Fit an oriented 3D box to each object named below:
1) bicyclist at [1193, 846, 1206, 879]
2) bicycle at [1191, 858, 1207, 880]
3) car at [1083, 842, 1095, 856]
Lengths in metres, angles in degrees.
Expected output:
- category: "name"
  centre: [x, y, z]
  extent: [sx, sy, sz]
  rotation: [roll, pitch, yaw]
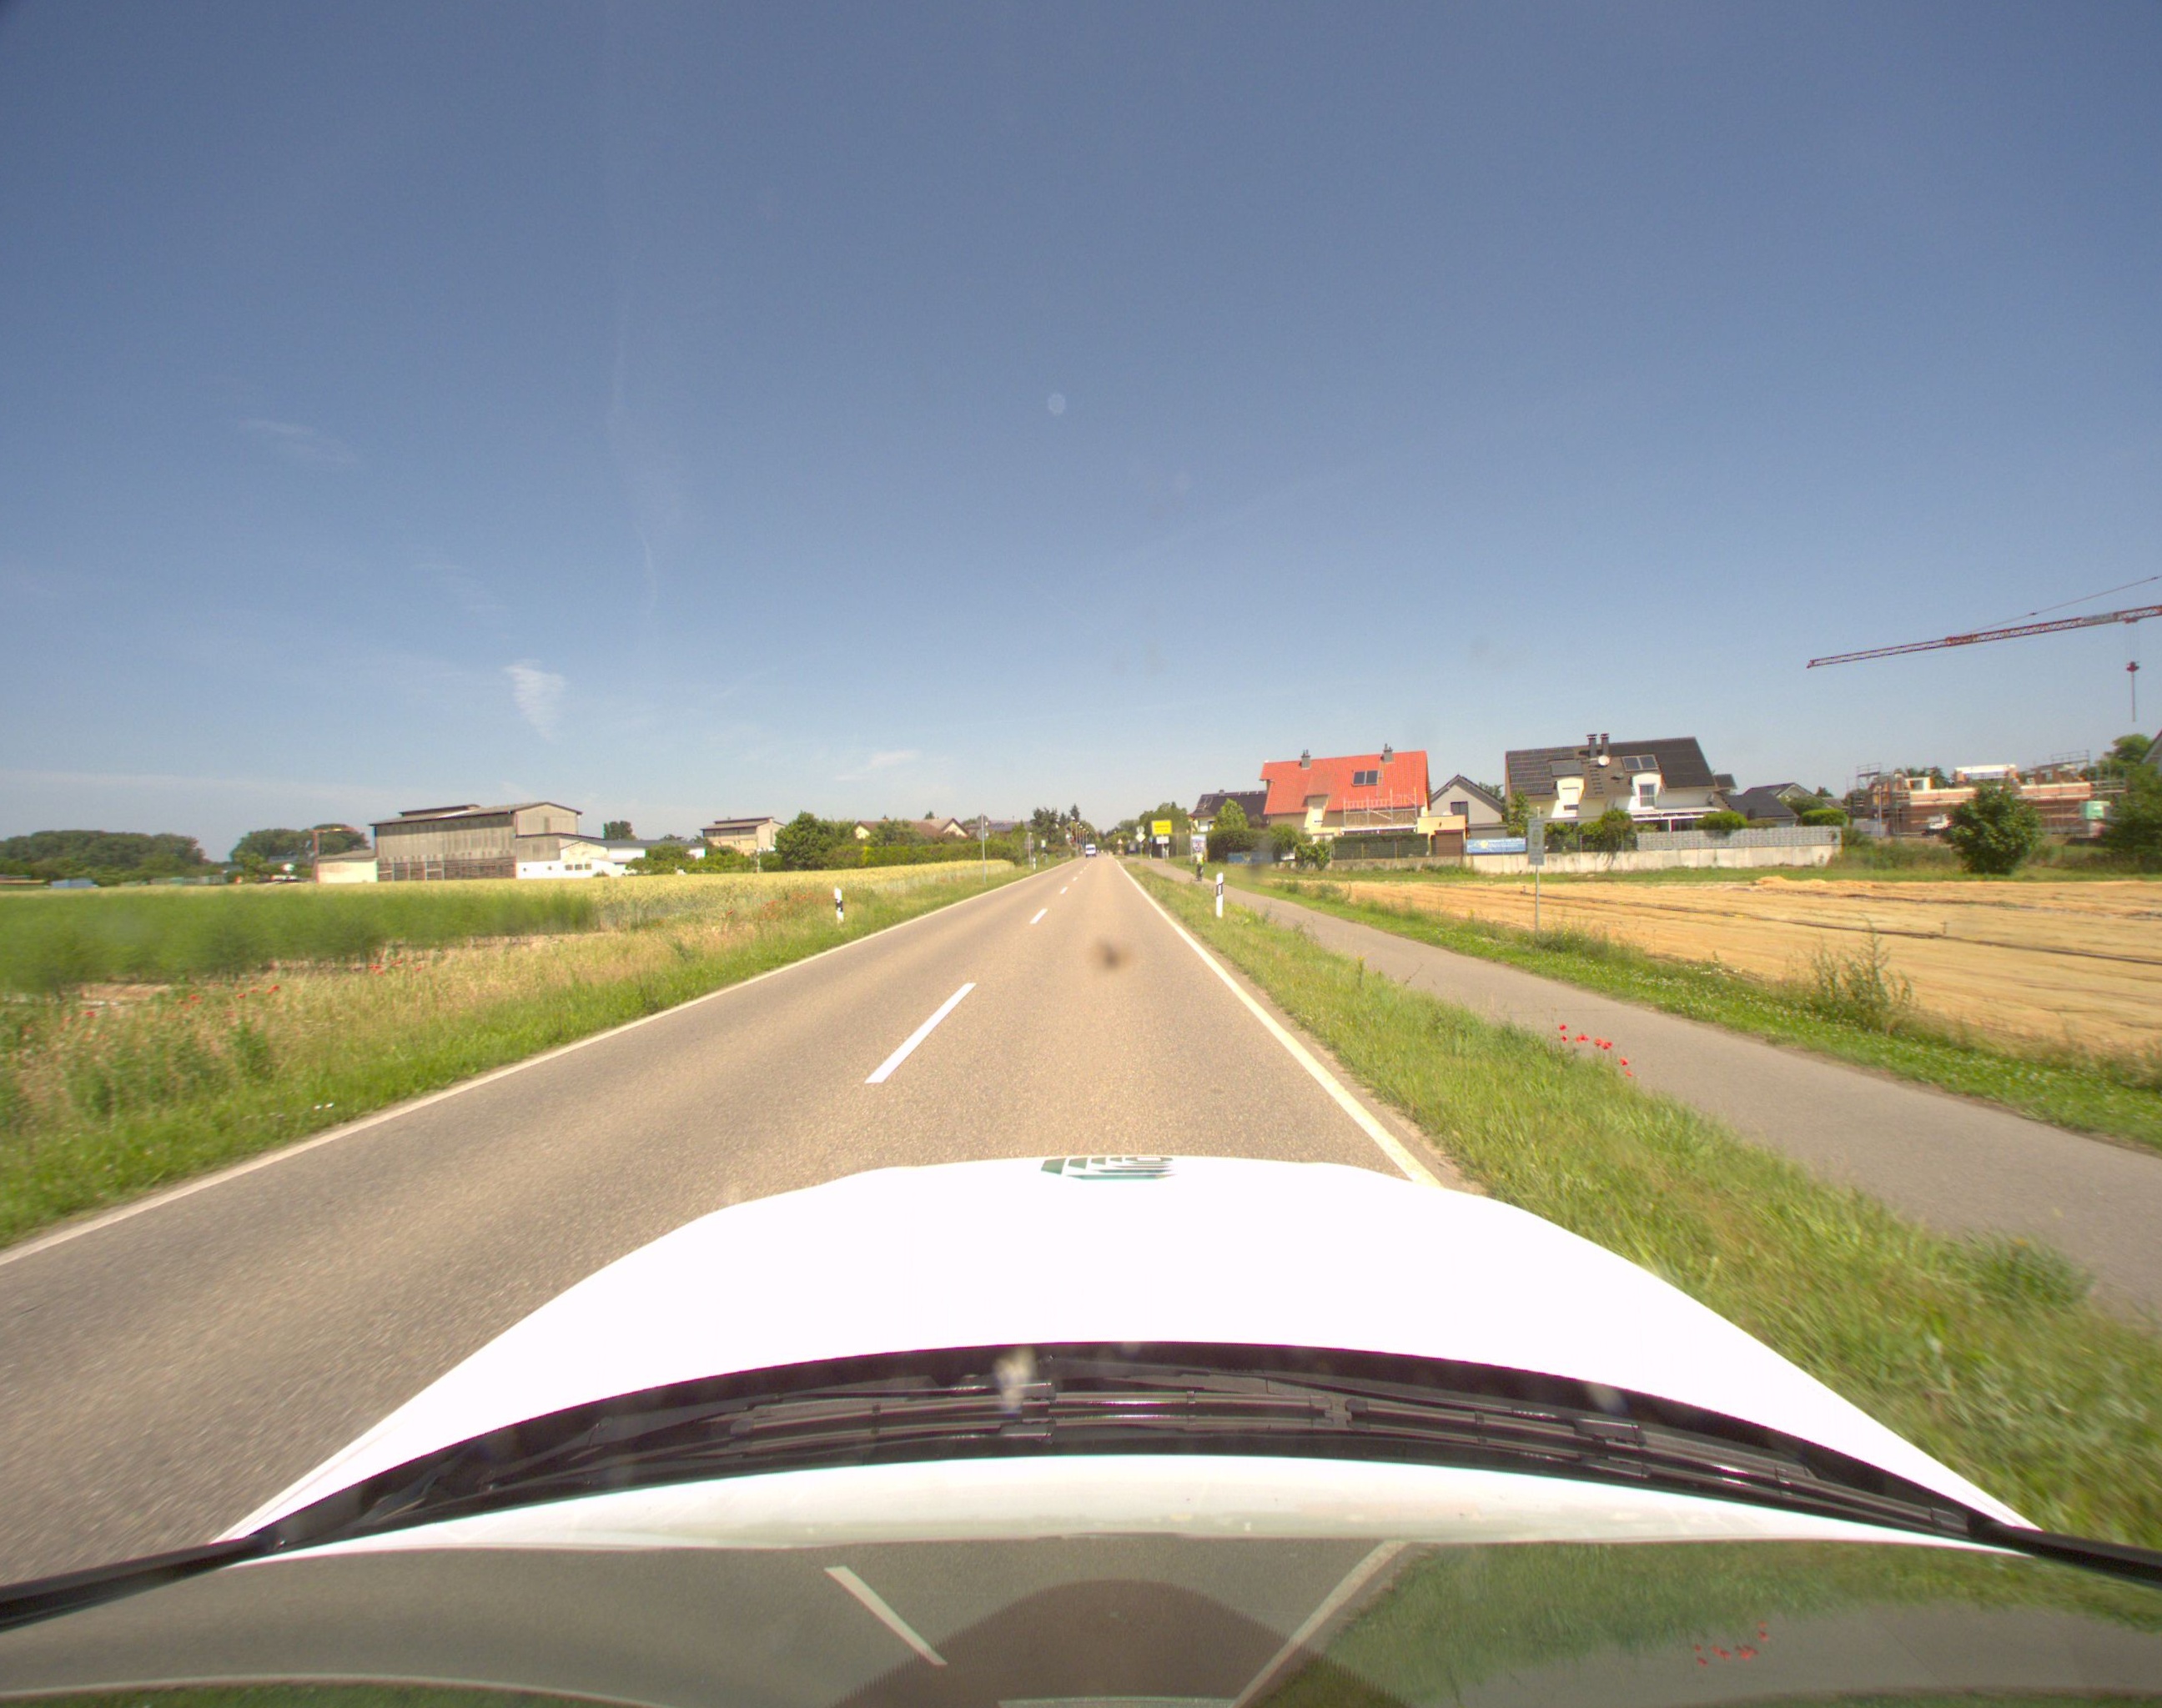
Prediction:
- category: "bicyclist"
  centre: [6.824, 0.499, 47.062]
  extent: [0.642, 1.889, 0.861]
  rotation: [-1, 1, 1]
- category: "bicycle"
  centre: [6.832, 0.861, 47.212]
  extent: [0.608, 1.158, 2.275]
  rotation: [-1, 1, 1]
- category: "car"
  centre: [1.591, -0.984, 162.167]
  extent: [2.070, 2.542, 5.875]
  rotation: [-3, 1, 1]
